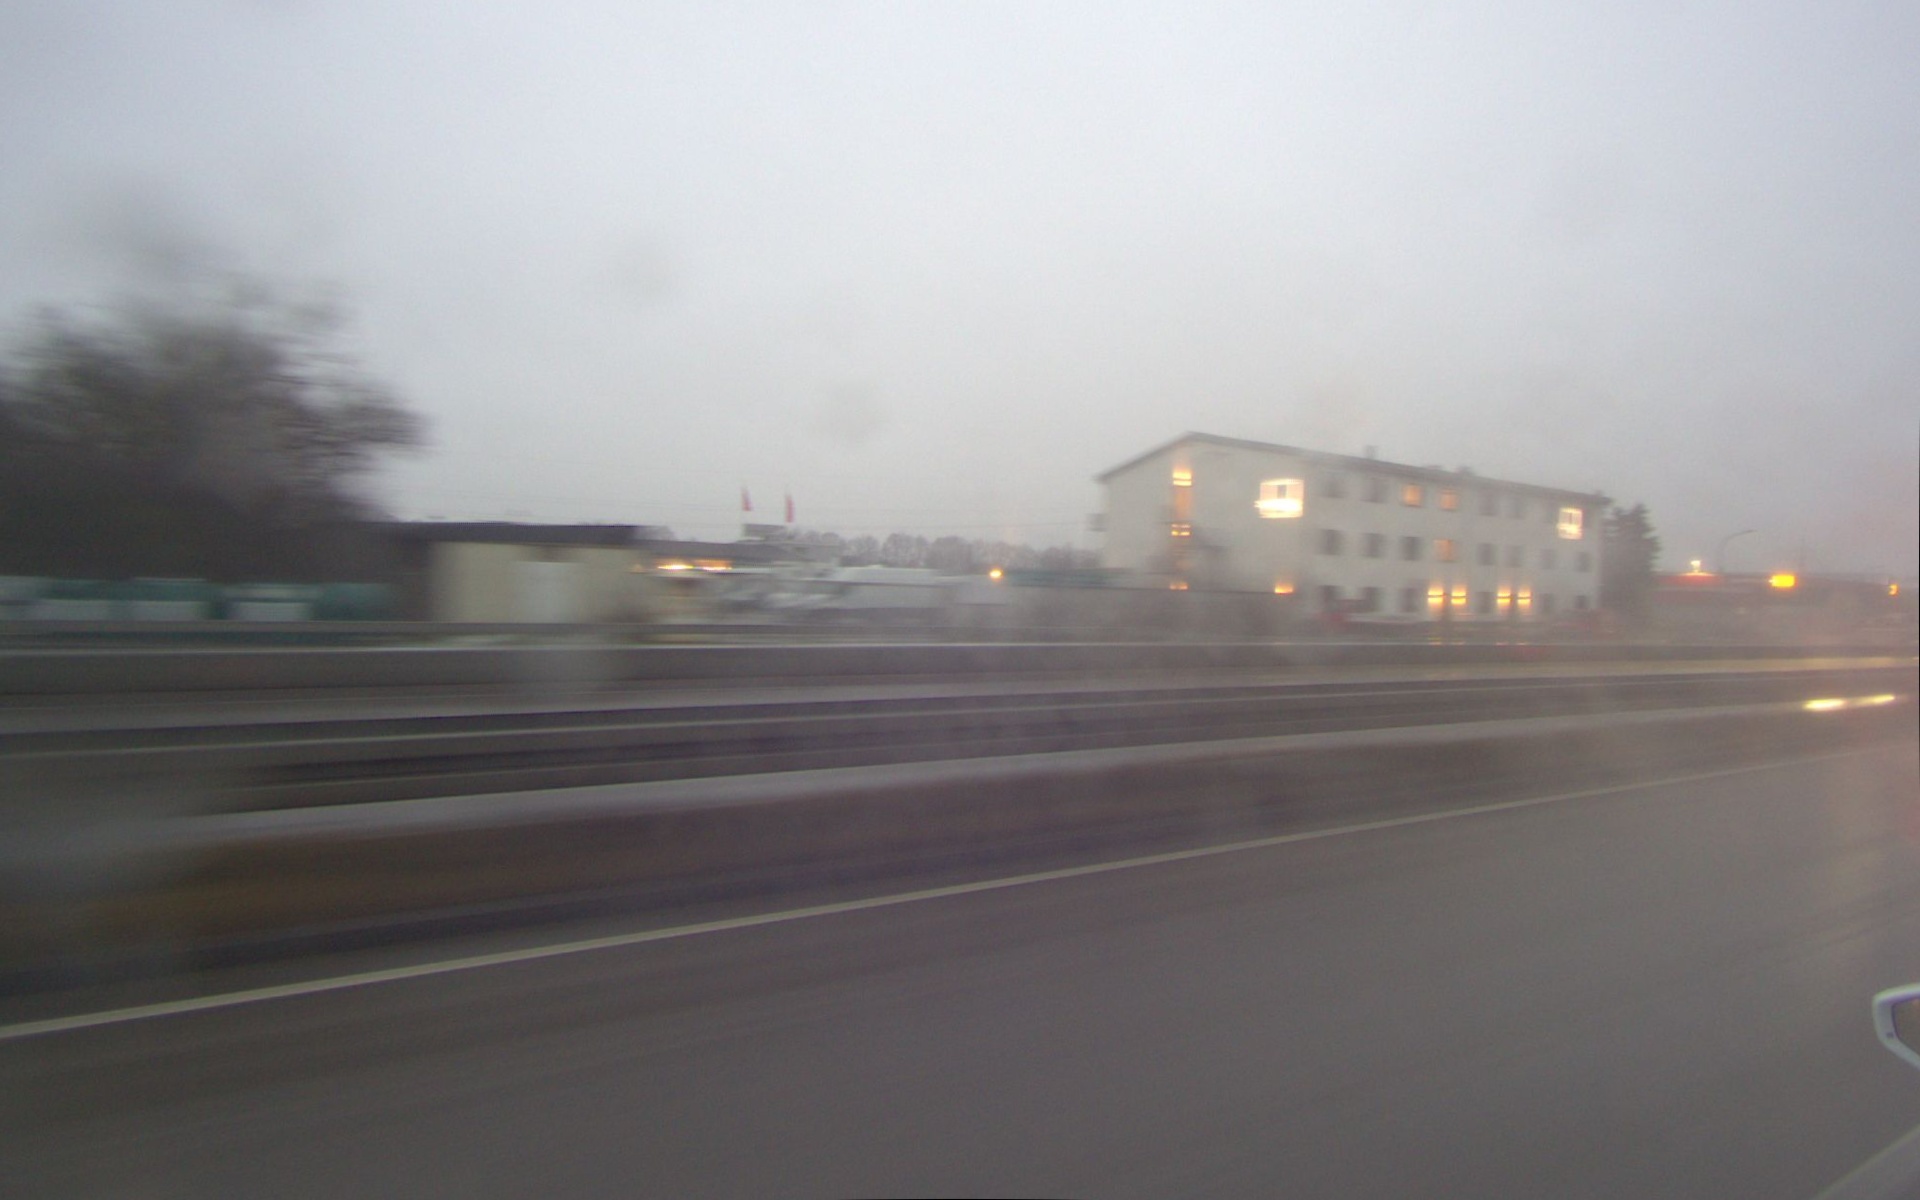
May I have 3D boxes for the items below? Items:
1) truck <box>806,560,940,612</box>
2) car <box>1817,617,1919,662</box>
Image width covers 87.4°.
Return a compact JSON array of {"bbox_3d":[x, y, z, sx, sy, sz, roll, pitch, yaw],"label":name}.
[{"bbox_3d":[-4.417,-0.675,51.565,6.730,2.488,1.981,0,3,-35],"label":"truck"},{"bbox_3d":[30.970,1.312,34.245,3.578,1.419,1.602,1,0,-31],"label":"car"}]
